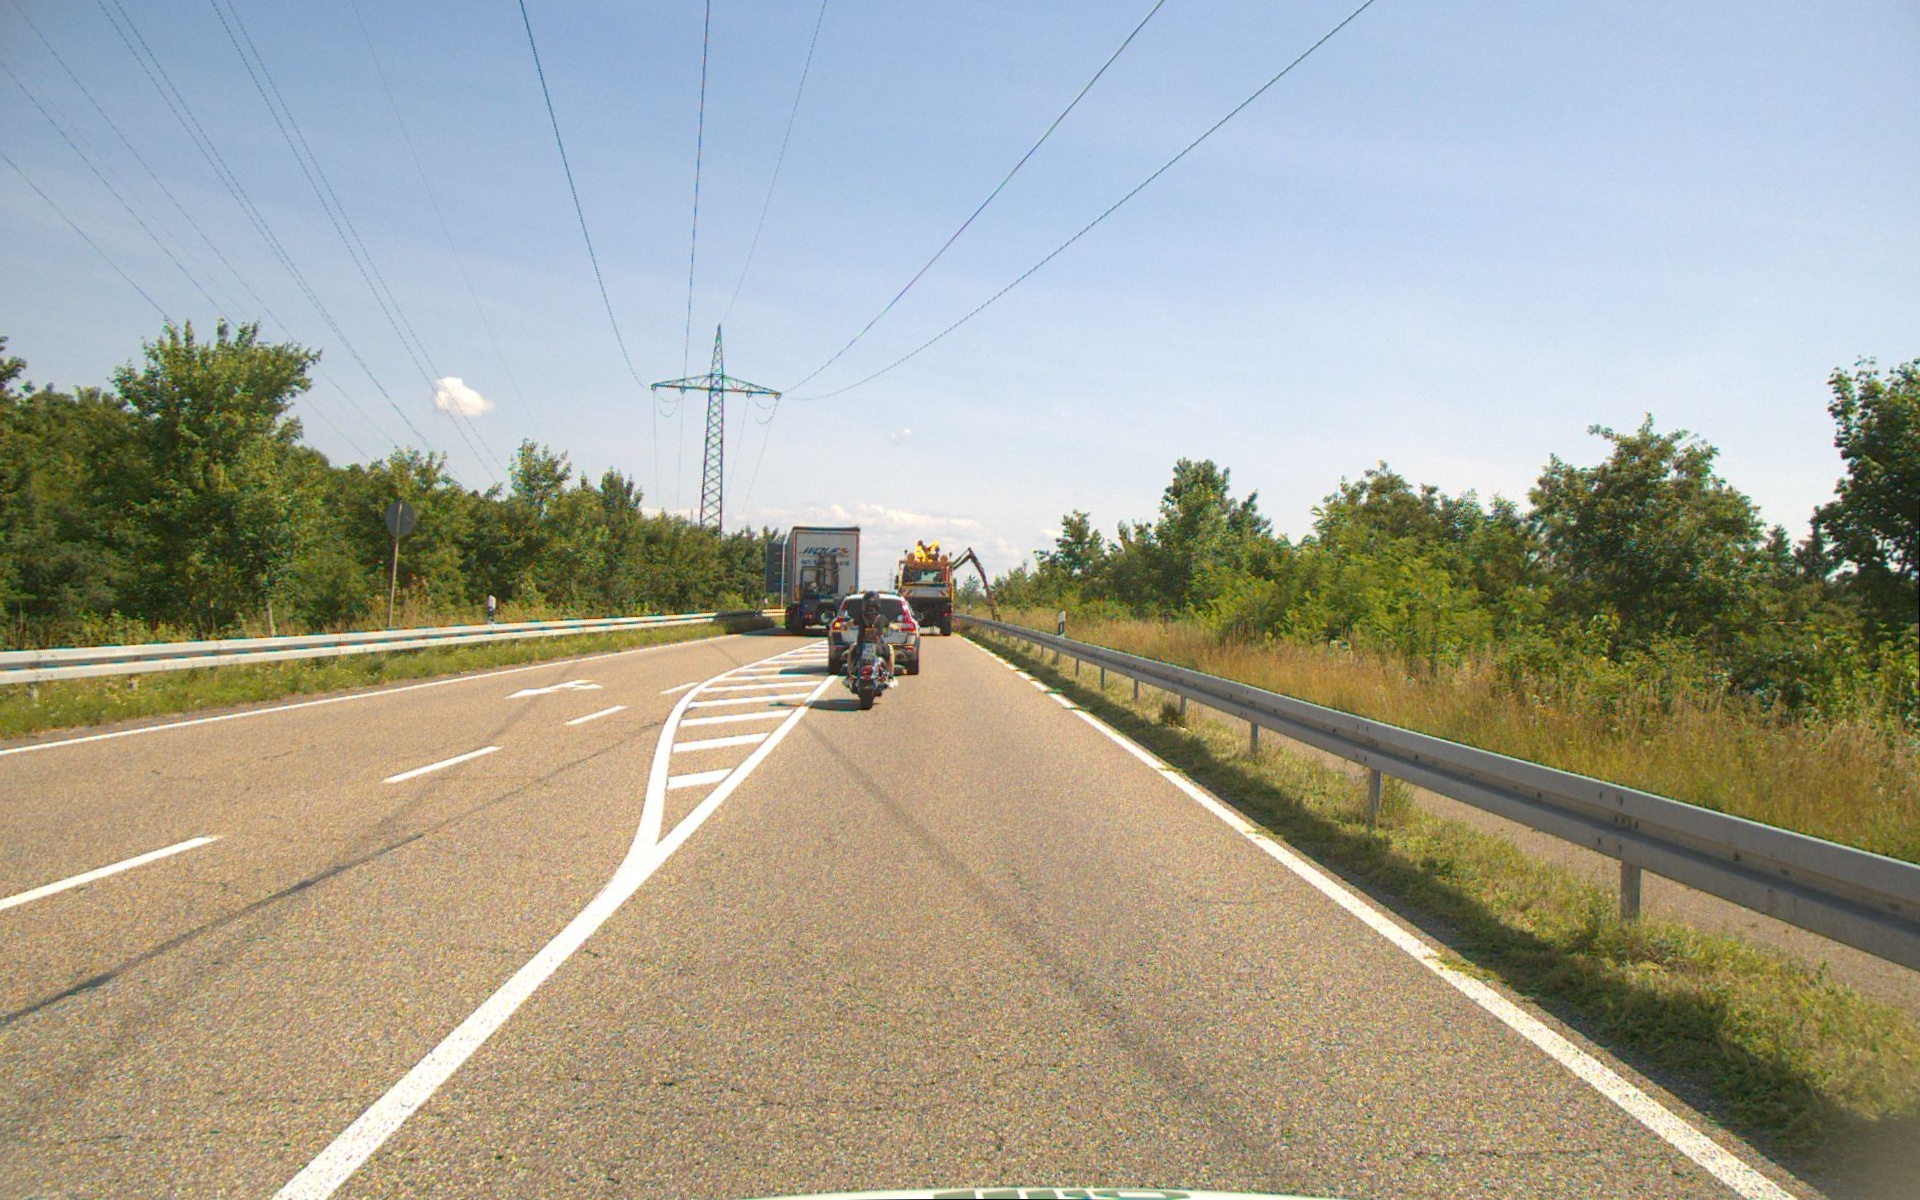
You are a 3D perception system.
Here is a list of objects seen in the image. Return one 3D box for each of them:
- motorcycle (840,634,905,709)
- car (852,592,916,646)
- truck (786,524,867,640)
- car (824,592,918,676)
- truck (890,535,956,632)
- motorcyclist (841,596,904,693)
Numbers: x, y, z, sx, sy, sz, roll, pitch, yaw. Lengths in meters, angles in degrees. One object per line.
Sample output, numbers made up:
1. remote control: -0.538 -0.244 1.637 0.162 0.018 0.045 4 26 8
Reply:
1. motorcycle: -1.222 0.967 23.009 0.842 0.931 2.226 1 0 -4
2. car: -2.291 0.553 50.119 1.818 1.516 3.738 1 0 -3
3. truck: -5.692 -0.699 69.385 2.910 4.260 14.804 1 0 -5
4. car: -1.829 0.642 33.176 1.668 1.563 3.494 1 0 -6
5. truck: -1.619 -0.668 69.341 2.561 3.776 6.774 1 0 -3
6. motorcyclist: -1.216 0.600 22.908 0.820 1.303 0.918 1 0 -4
